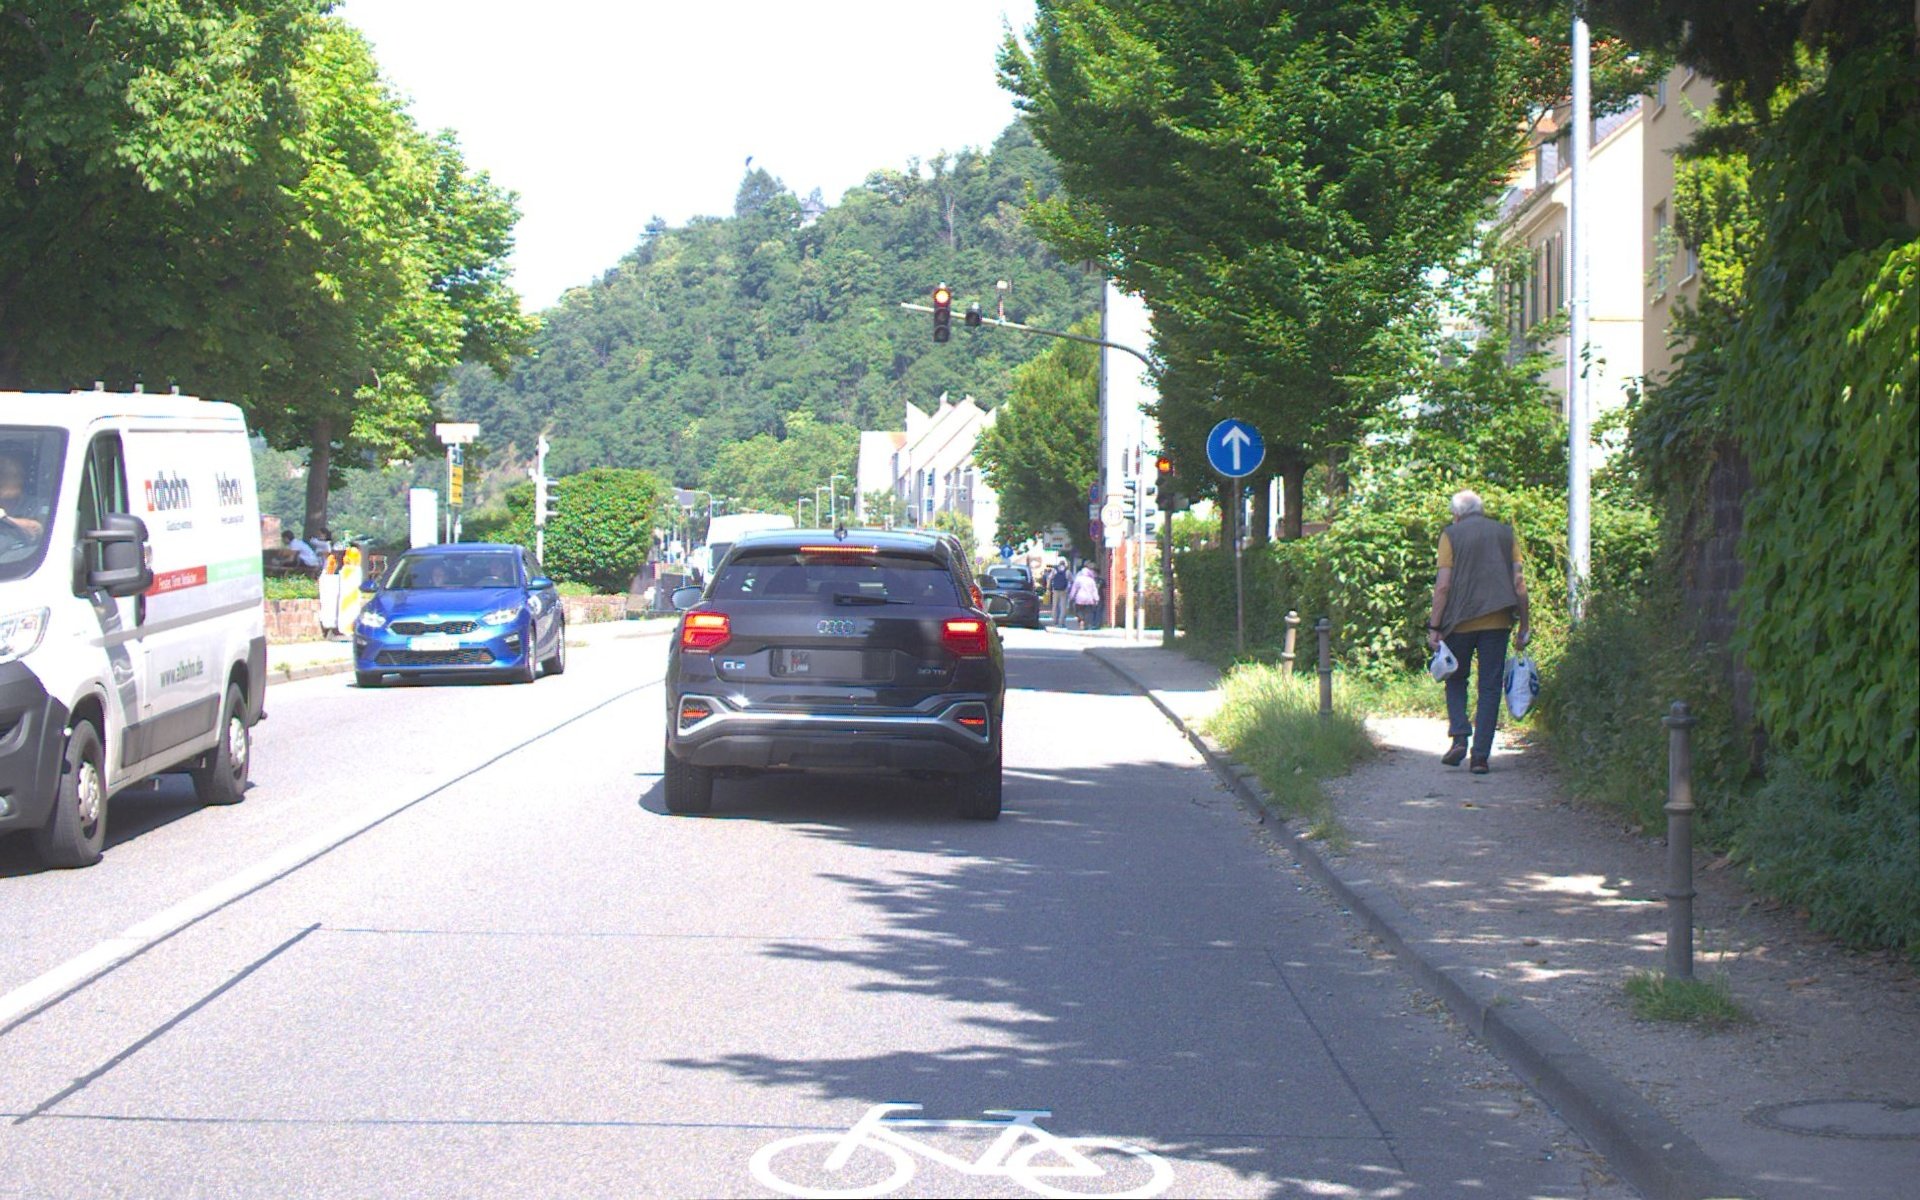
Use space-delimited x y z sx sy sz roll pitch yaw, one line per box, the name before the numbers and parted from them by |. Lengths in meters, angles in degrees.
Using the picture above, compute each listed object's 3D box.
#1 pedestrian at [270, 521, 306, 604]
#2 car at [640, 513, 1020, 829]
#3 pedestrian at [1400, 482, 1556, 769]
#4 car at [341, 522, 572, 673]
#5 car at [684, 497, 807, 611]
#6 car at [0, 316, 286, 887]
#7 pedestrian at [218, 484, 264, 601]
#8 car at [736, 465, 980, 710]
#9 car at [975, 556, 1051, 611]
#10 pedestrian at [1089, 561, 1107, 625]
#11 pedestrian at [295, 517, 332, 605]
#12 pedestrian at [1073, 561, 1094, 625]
pedestrian | -12.666 -0.698 64.806 0.558 1.554 0.540 0 -1 4
car | -0.658 0.311 19.283 1.857 1.518 4.000 2 1 0
pedestrian | 3.089 0.142 20.563 0.728 1.644 0.882 -3 1 0
car | -5.201 -0.020 35.980 1.899 1.484 3.796 0 0 -1
car | -4.878 -1.017 79.035 2.494 2.458 5.620 0 -1 0
car | -4.864 -0.074 16.727 2.096 2.294 5.869 0 2 -1
pedestrian | -12.478 -0.984 59.661 0.640 2.007 0.730 0 -1 0
car | -0.845 -0.133 30.313 1.993 2.007 4.000 0 1 0
car | 1.453 -0.432 95.576 1.993 1.448 4.008 0 -1 0
pedestrian | 3.412 -0.167 84.760 0.413 1.554 0.395 0 -1 0
pedestrian | -12.321 -0.747 65.531 0.558 1.663 0.540 0 -1 4
pedestrian | 3.011 -0.177 83.693 0.489 1.554 0.461 0 -1 0
